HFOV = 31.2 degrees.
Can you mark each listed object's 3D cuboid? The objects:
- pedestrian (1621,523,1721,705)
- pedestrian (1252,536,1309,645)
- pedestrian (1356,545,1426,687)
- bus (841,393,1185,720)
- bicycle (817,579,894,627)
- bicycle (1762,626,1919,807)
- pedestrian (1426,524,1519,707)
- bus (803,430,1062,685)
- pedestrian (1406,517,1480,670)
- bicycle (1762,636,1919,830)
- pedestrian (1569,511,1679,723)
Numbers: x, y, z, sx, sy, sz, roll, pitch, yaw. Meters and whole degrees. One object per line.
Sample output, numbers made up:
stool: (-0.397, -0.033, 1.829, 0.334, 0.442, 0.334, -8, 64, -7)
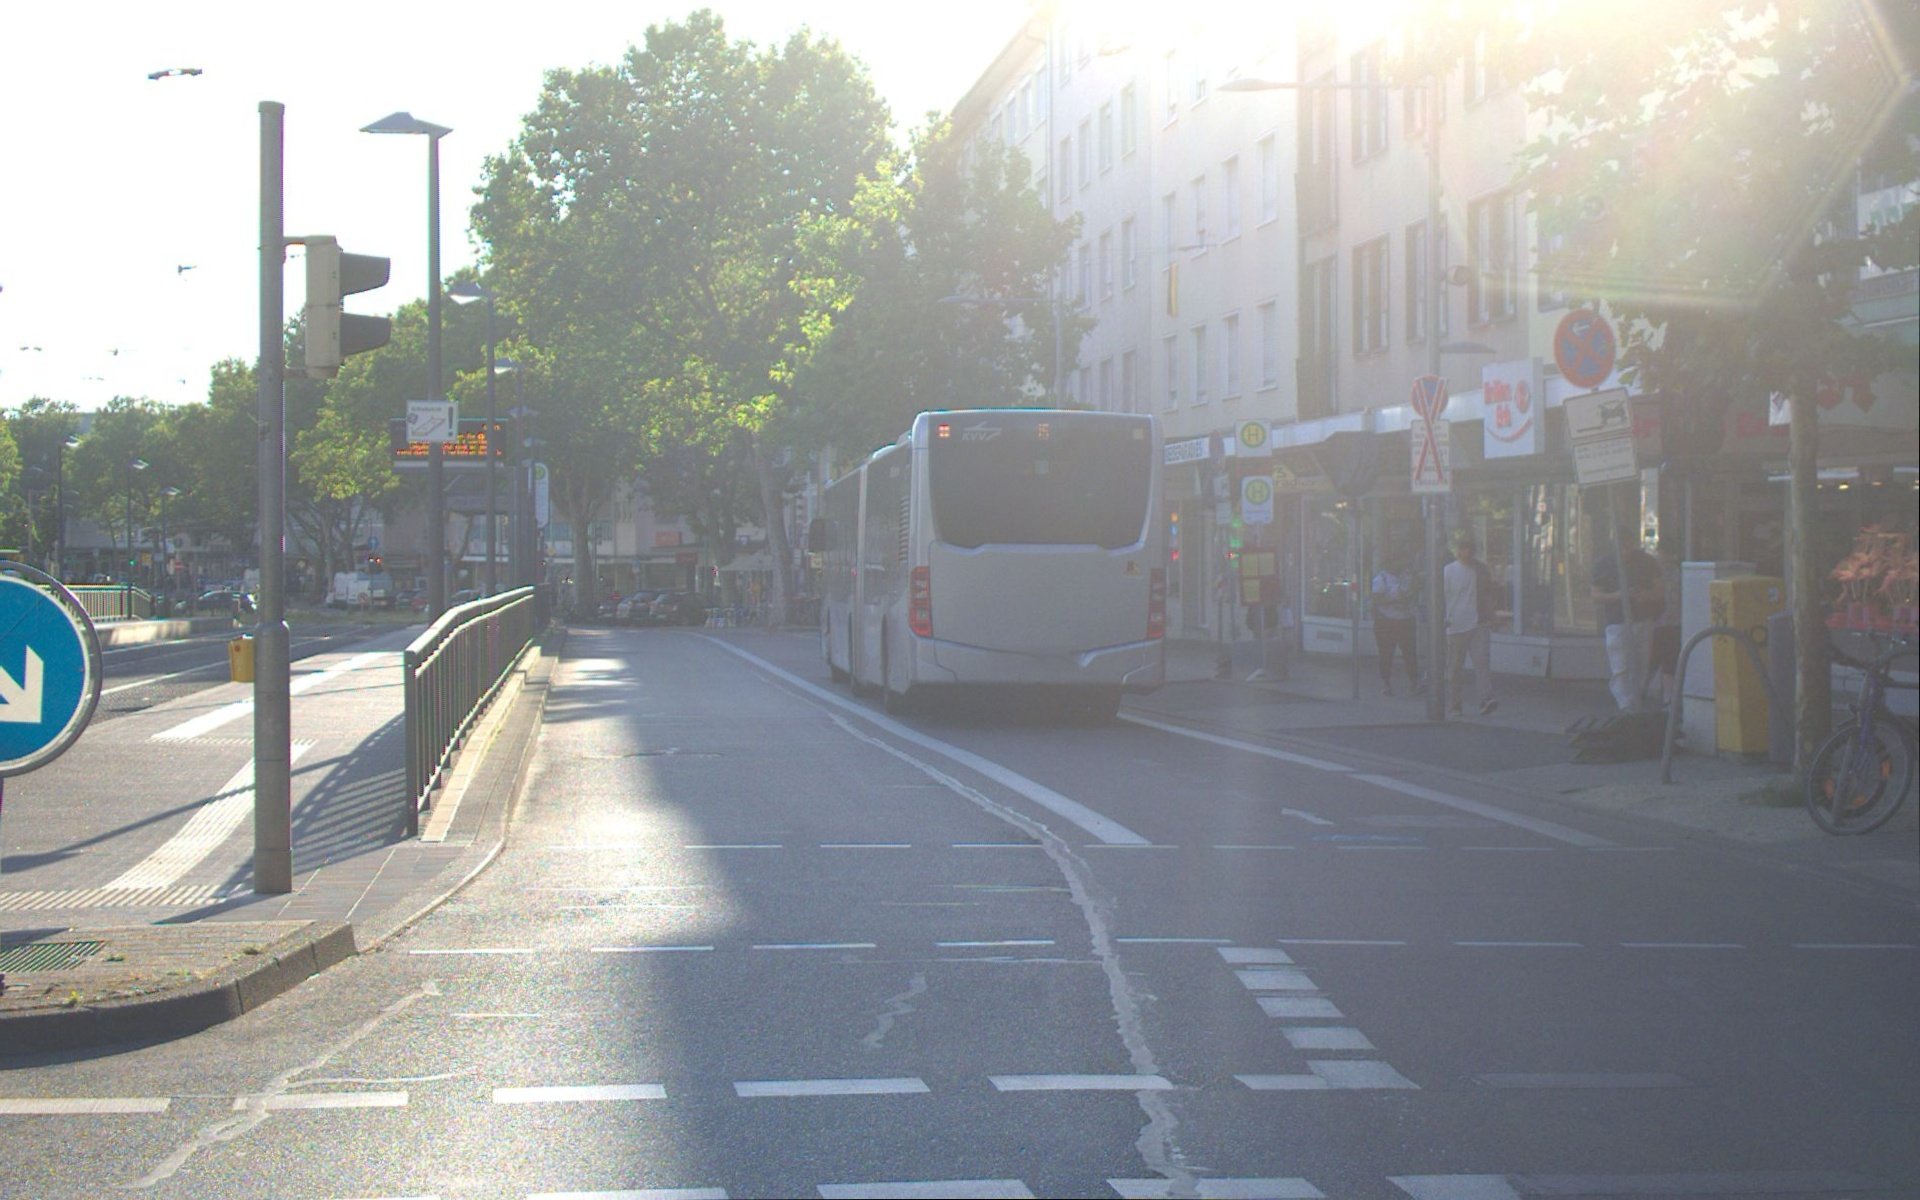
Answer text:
pedestrian: (6.807, 0.127, 32.940, 0.723, 1.717, 0.766, 0, 0, -6)
pedestrian: (4.849, -0.149, 52.101, 0.723, 1.627, 0.766, 0, 1, -6)
pedestrian: (4.853, 0.176, 38.749, 0.610, 1.573, 0.851, 0, 0, -6)
bus: (0.349, -0.463, 37.633, 2.696, 3.107, 9.383, 1, 1, -6)
bicycle: (-2.695, 0.071, 88.392, 1.886, 1.073, 0.754, -4, 1, -3)
bicycle: (5.388, 0.656, 19.686, 1.482, 1.005, 0.454, 0, 1, -9)
pedestrian: (5.016, 0.145, 33.676, 0.723, 1.773, 0.766, 0, 0, -6)
bus: (-0.541, -0.568, 46.786, 2.696, 3.107, 9.072, 1, 1, -6)
pedestrian: (5.874, -0.080, 41.811, 0.723, 1.834, 0.766, 0, 0, -6)
bicycle: (5.423, 0.708, 19.070, 1.797, 1.005, 0.541, -2, 1, -9)
pedestrian: (5.723, 0.144, 29.658, 0.723, 1.800, 0.766, 0, 0, -6)
